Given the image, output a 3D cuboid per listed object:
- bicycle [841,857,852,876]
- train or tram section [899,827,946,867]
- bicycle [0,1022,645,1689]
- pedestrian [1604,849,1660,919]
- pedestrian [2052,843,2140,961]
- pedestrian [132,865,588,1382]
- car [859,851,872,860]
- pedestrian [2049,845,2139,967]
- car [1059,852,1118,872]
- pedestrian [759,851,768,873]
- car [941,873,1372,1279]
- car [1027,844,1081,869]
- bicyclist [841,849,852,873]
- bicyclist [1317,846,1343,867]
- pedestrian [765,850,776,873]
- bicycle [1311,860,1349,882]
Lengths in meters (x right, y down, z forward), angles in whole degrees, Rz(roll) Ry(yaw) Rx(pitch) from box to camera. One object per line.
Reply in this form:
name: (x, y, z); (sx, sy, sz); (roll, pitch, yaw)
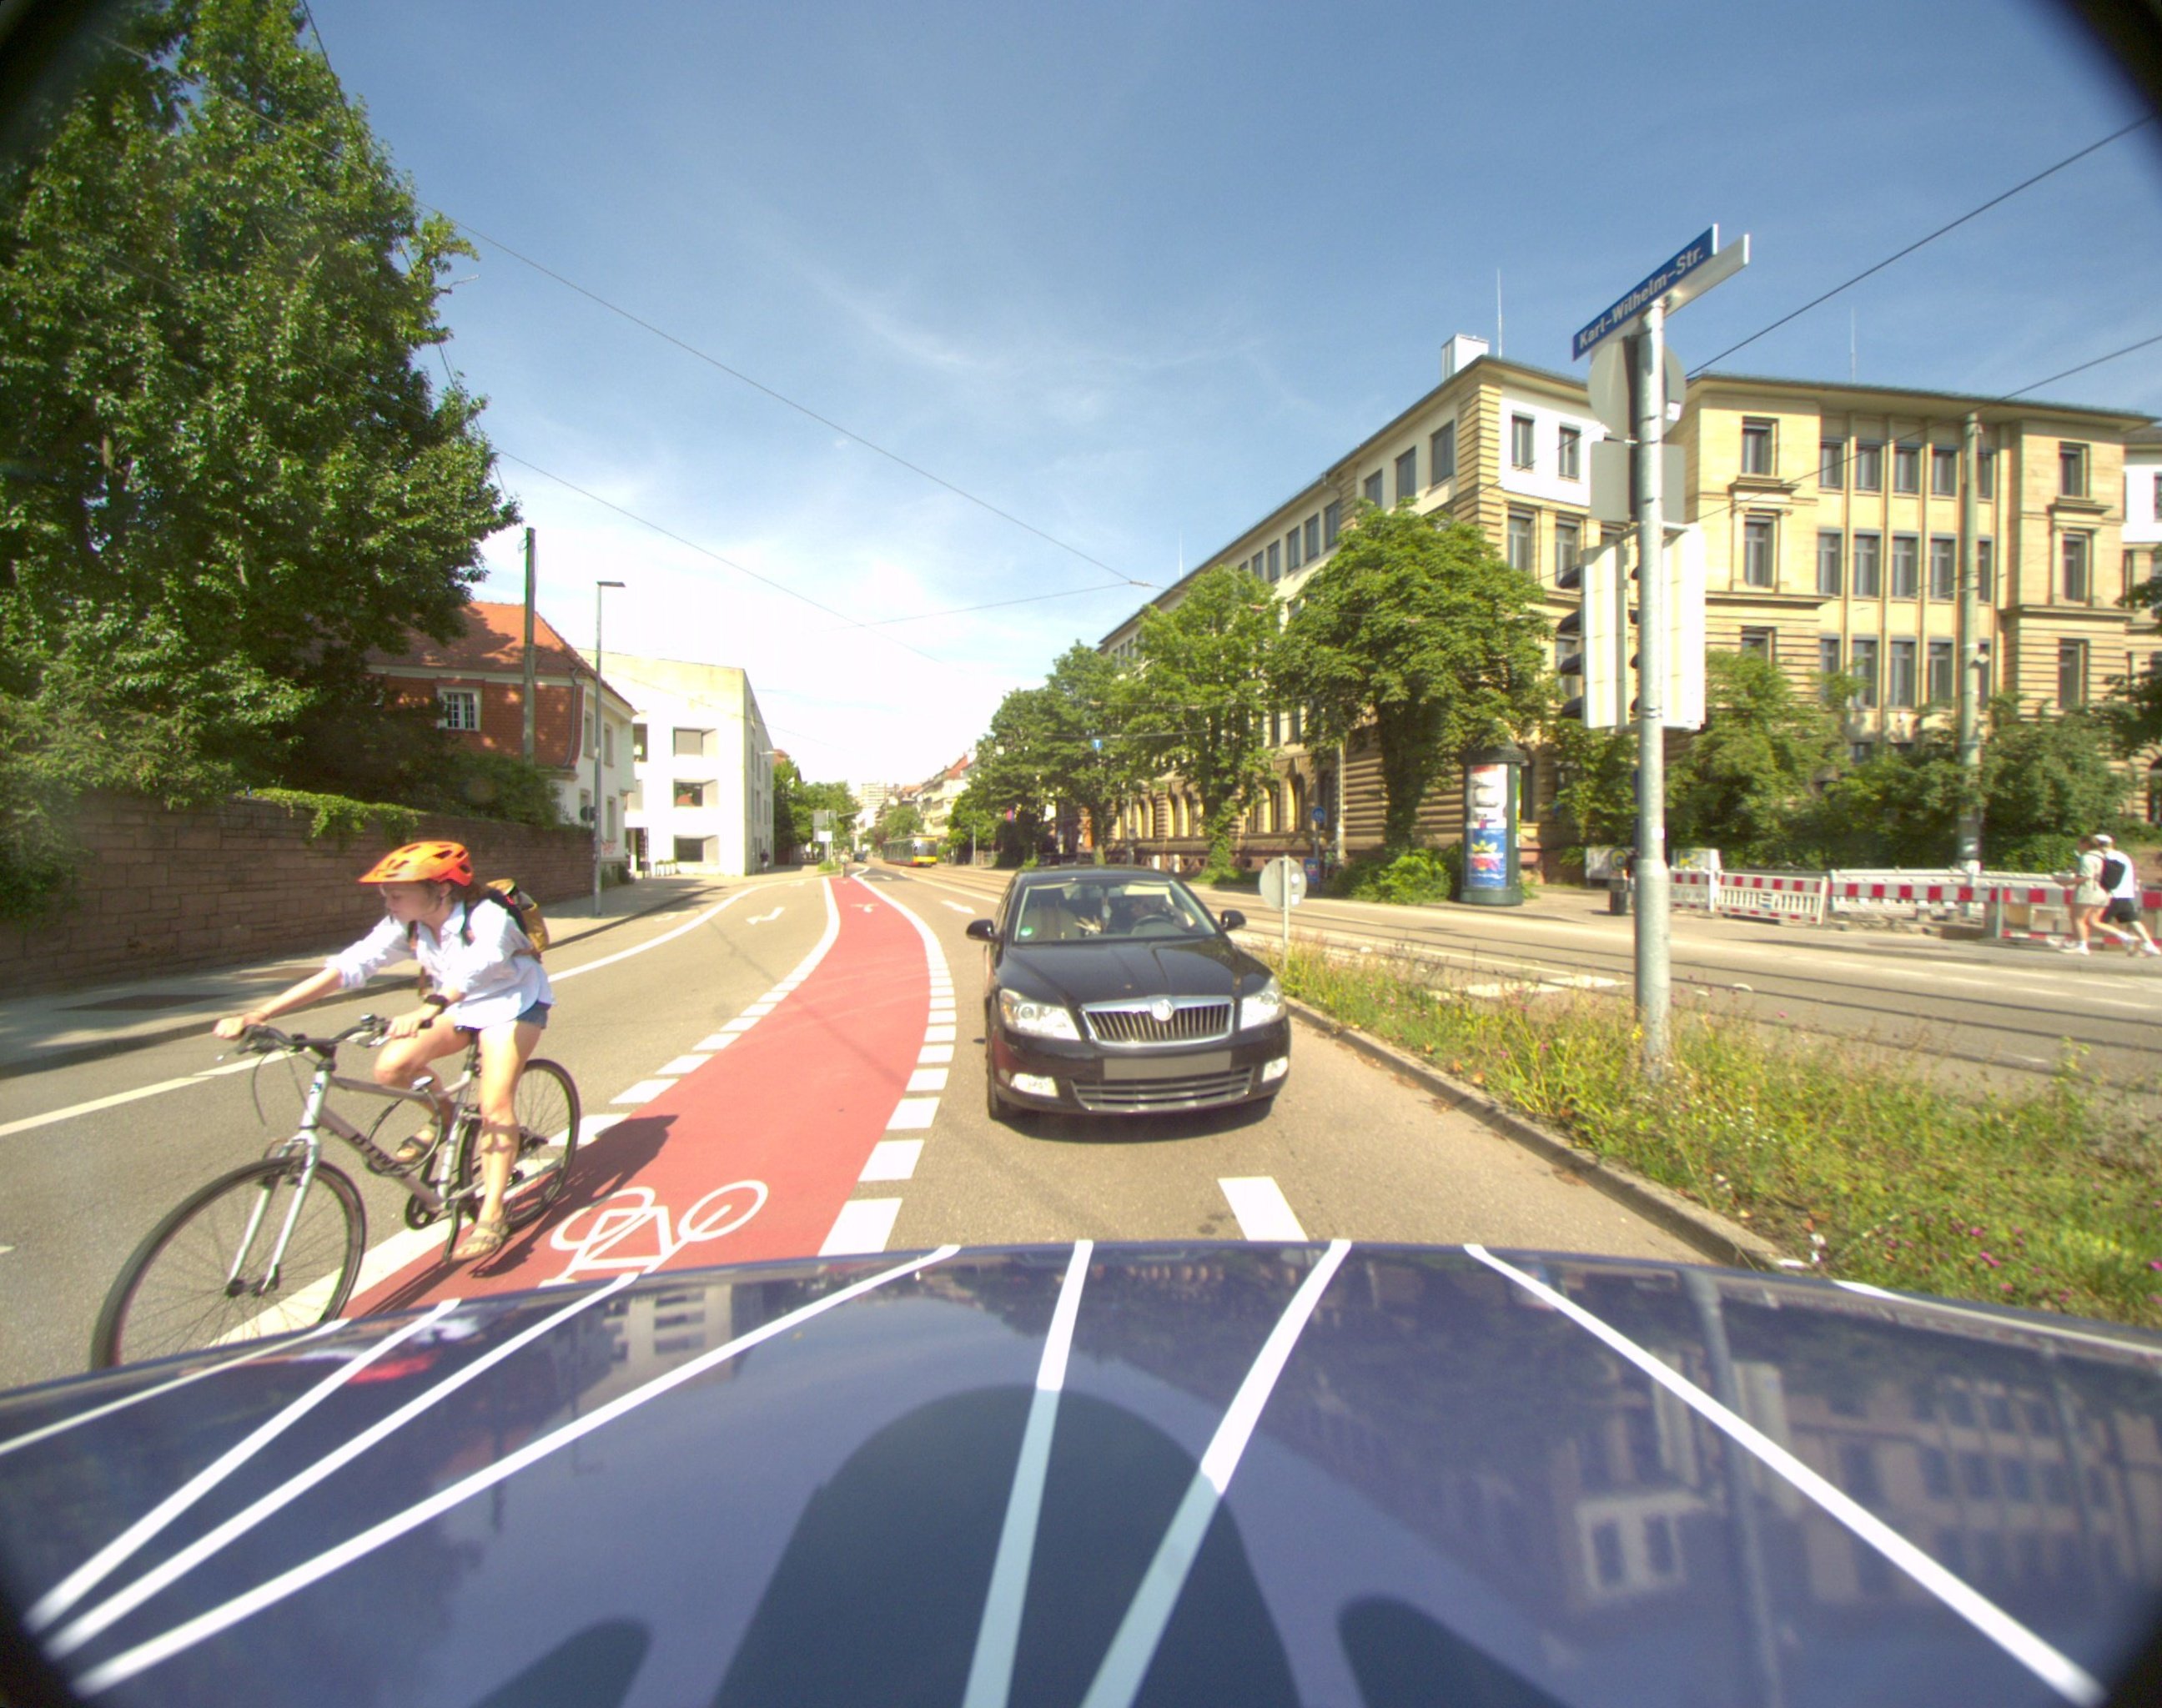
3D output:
bicycle: (-15.402, 0.808, 49.907); (0.686, 1.215, 2.183); (0, 0, -16)
train or tram section: (-17.079, -0.719, 81.003); (3.219, 3.838, 14.563); (0, 0, -19)
bicycle: (-2.391, 1.270, 2.586); (0.598, 0.926, 2.028); (-1, 0, 1)
pedestrian: (13.368, 0.697, 18.461); (0.938, 1.646, 0.845); (0, 1, 25)
pedestrian: (15.560, 0.707, 11.672); (0.586, 1.739, 0.743); (-1, 1, -41)
pedestrian: (-2.392, 0.784, 2.683); (0.584, 1.458, 1.013); (-1, 1, 1)
car: (-32.641, 0.179, 114.982); (1.804, 1.368, 4.271); (0, 0, -14)
pedestrian: (15.043, 0.745, 11.303); (0.586, 1.739, 0.743); (-1, 1, -41)
car: (0.547, 0.569, 57.372); (4.004, 1.455, 1.996); (0, 0, -20)
pedestrian: (-23.048, 0.552, 55.232); (0.550, 1.559, 0.930); (0, 1, -19)
car: (0.095, 0.987, 5.649); (1.865, 1.510, 4.824); (0, 1, -6)
car: (-2.203, 0.207, 62.330); (4.004, 2.002, 1.996); (0, 0, -20)
bicyclist: (-15.420, 0.454, 49.956); (0.588, 1.539, 0.930); (-3, 1, -16)
bicyclist: (11.044, 0.109, 33.660); (0.683, 0.921, 0.868); (0, 1, -23)
pedestrian: (-22.596, 0.532, 55.327); (0.651, 1.697, 0.710); (0, 1, -19)
bicycle: (11.024, 0.753, 33.712); (0.702, 0.941, 1.662); (0, 1, -23)
